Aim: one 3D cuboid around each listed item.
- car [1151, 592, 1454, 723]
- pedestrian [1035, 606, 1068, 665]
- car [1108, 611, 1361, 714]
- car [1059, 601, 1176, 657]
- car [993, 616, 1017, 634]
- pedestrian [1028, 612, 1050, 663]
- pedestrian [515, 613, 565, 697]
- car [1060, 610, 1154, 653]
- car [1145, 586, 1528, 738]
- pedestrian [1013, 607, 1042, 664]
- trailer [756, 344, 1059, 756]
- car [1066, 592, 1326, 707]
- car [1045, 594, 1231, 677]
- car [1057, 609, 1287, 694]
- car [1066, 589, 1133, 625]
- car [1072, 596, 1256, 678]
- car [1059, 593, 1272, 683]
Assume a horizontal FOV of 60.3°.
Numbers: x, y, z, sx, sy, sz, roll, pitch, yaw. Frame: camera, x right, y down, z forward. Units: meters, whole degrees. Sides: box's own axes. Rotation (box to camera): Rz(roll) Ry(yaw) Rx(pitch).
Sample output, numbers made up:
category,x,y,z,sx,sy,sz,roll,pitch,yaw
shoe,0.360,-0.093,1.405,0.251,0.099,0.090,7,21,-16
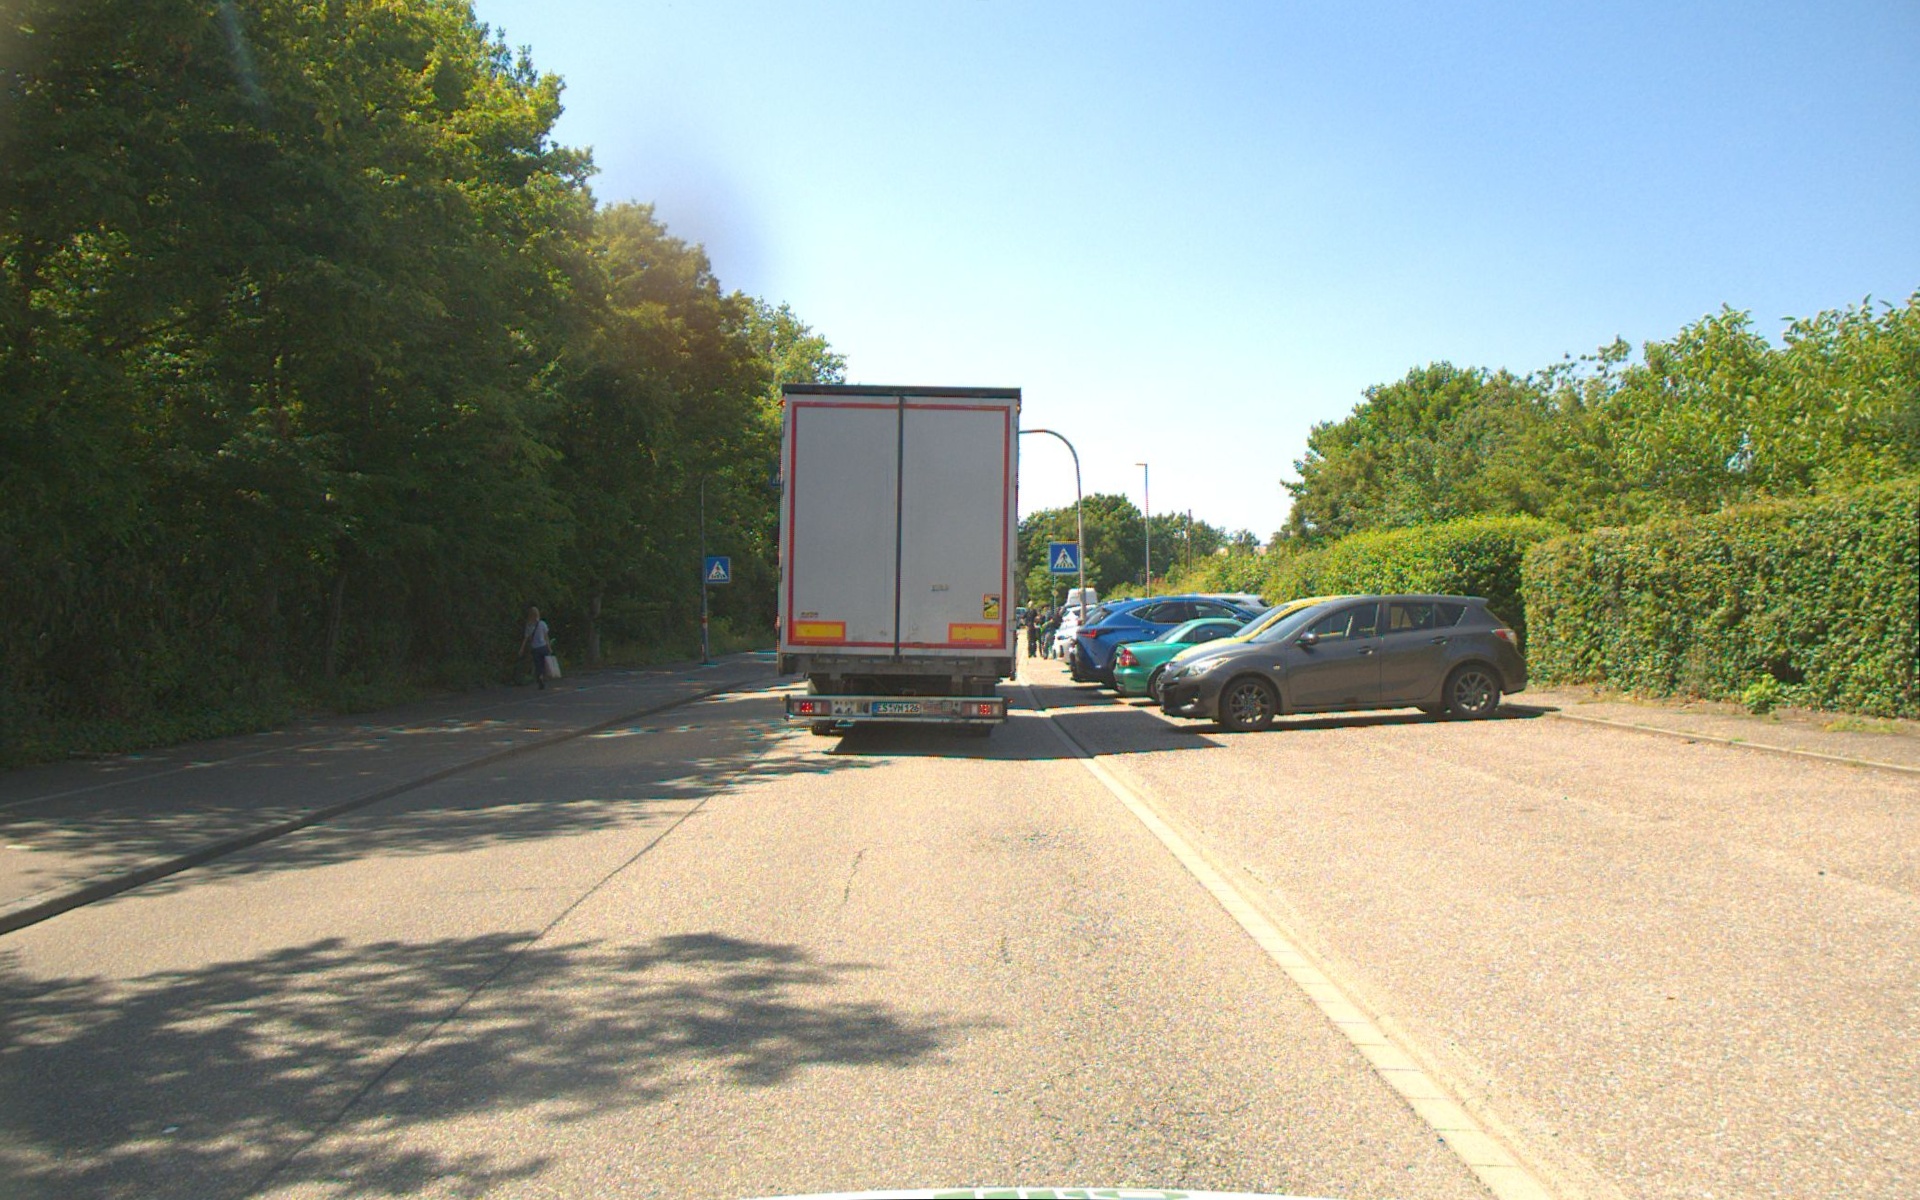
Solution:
category,x,y,z,sx,sy,sz,roll,pitch,yaw
car,4.653,0.774,22.867,3.725,1.480,1.774,-4,-1,-1
pedestrian,2.960,1.153,53.517,0.888,1.829,0.935,-4,-1,5
car,4.241,0.959,25.942,3.658,1.290,1.628,-4,-1,1
car,5.737,1.052,60.411,3.882,1.697,1.811,-4,2,-7
car,4.064,2.239,149.295,1.743,1.512,4.003,-1,0,8
pedestrian,2.657,1.257,55.677,0.577,1.643,0.745,-4,-1,5
pedestrian,-8.439,1.094,33.268,0.811,1.651,0.783,0,0,-2
car,6.462,1.378,73.070,3.878,1.647,1.812,-3,0,-3
car,4.396,0.718,19.759,4.080,1.521,1.882,-3,-1,-1
pedestrian,2.303,1.206,56.373,0.804,1.866,0.793,-4,-1,5
trailer,-0.583,-0.457,22.666,3.049,4.174,11.534,-1,-1,0
car,4.034,0.839,28.701,4.153,1.662,1.822,-4,0,-1
car,4.414,0.878,41.389,4.316,1.727,1.876,-4,-1,-2
car,4.028,0.969,31.744,4.051,1.464,1.812,-1,0,-7
car,8.403,0.443,99.642,3.874,1.829,1.814,-4,-3,3
car,4.732,0.855,38.849,4.041,1.686,1.887,-3,-1,0
car,4.257,0.814,34.760,4.150,1.683,1.899,-2,-2,-2
